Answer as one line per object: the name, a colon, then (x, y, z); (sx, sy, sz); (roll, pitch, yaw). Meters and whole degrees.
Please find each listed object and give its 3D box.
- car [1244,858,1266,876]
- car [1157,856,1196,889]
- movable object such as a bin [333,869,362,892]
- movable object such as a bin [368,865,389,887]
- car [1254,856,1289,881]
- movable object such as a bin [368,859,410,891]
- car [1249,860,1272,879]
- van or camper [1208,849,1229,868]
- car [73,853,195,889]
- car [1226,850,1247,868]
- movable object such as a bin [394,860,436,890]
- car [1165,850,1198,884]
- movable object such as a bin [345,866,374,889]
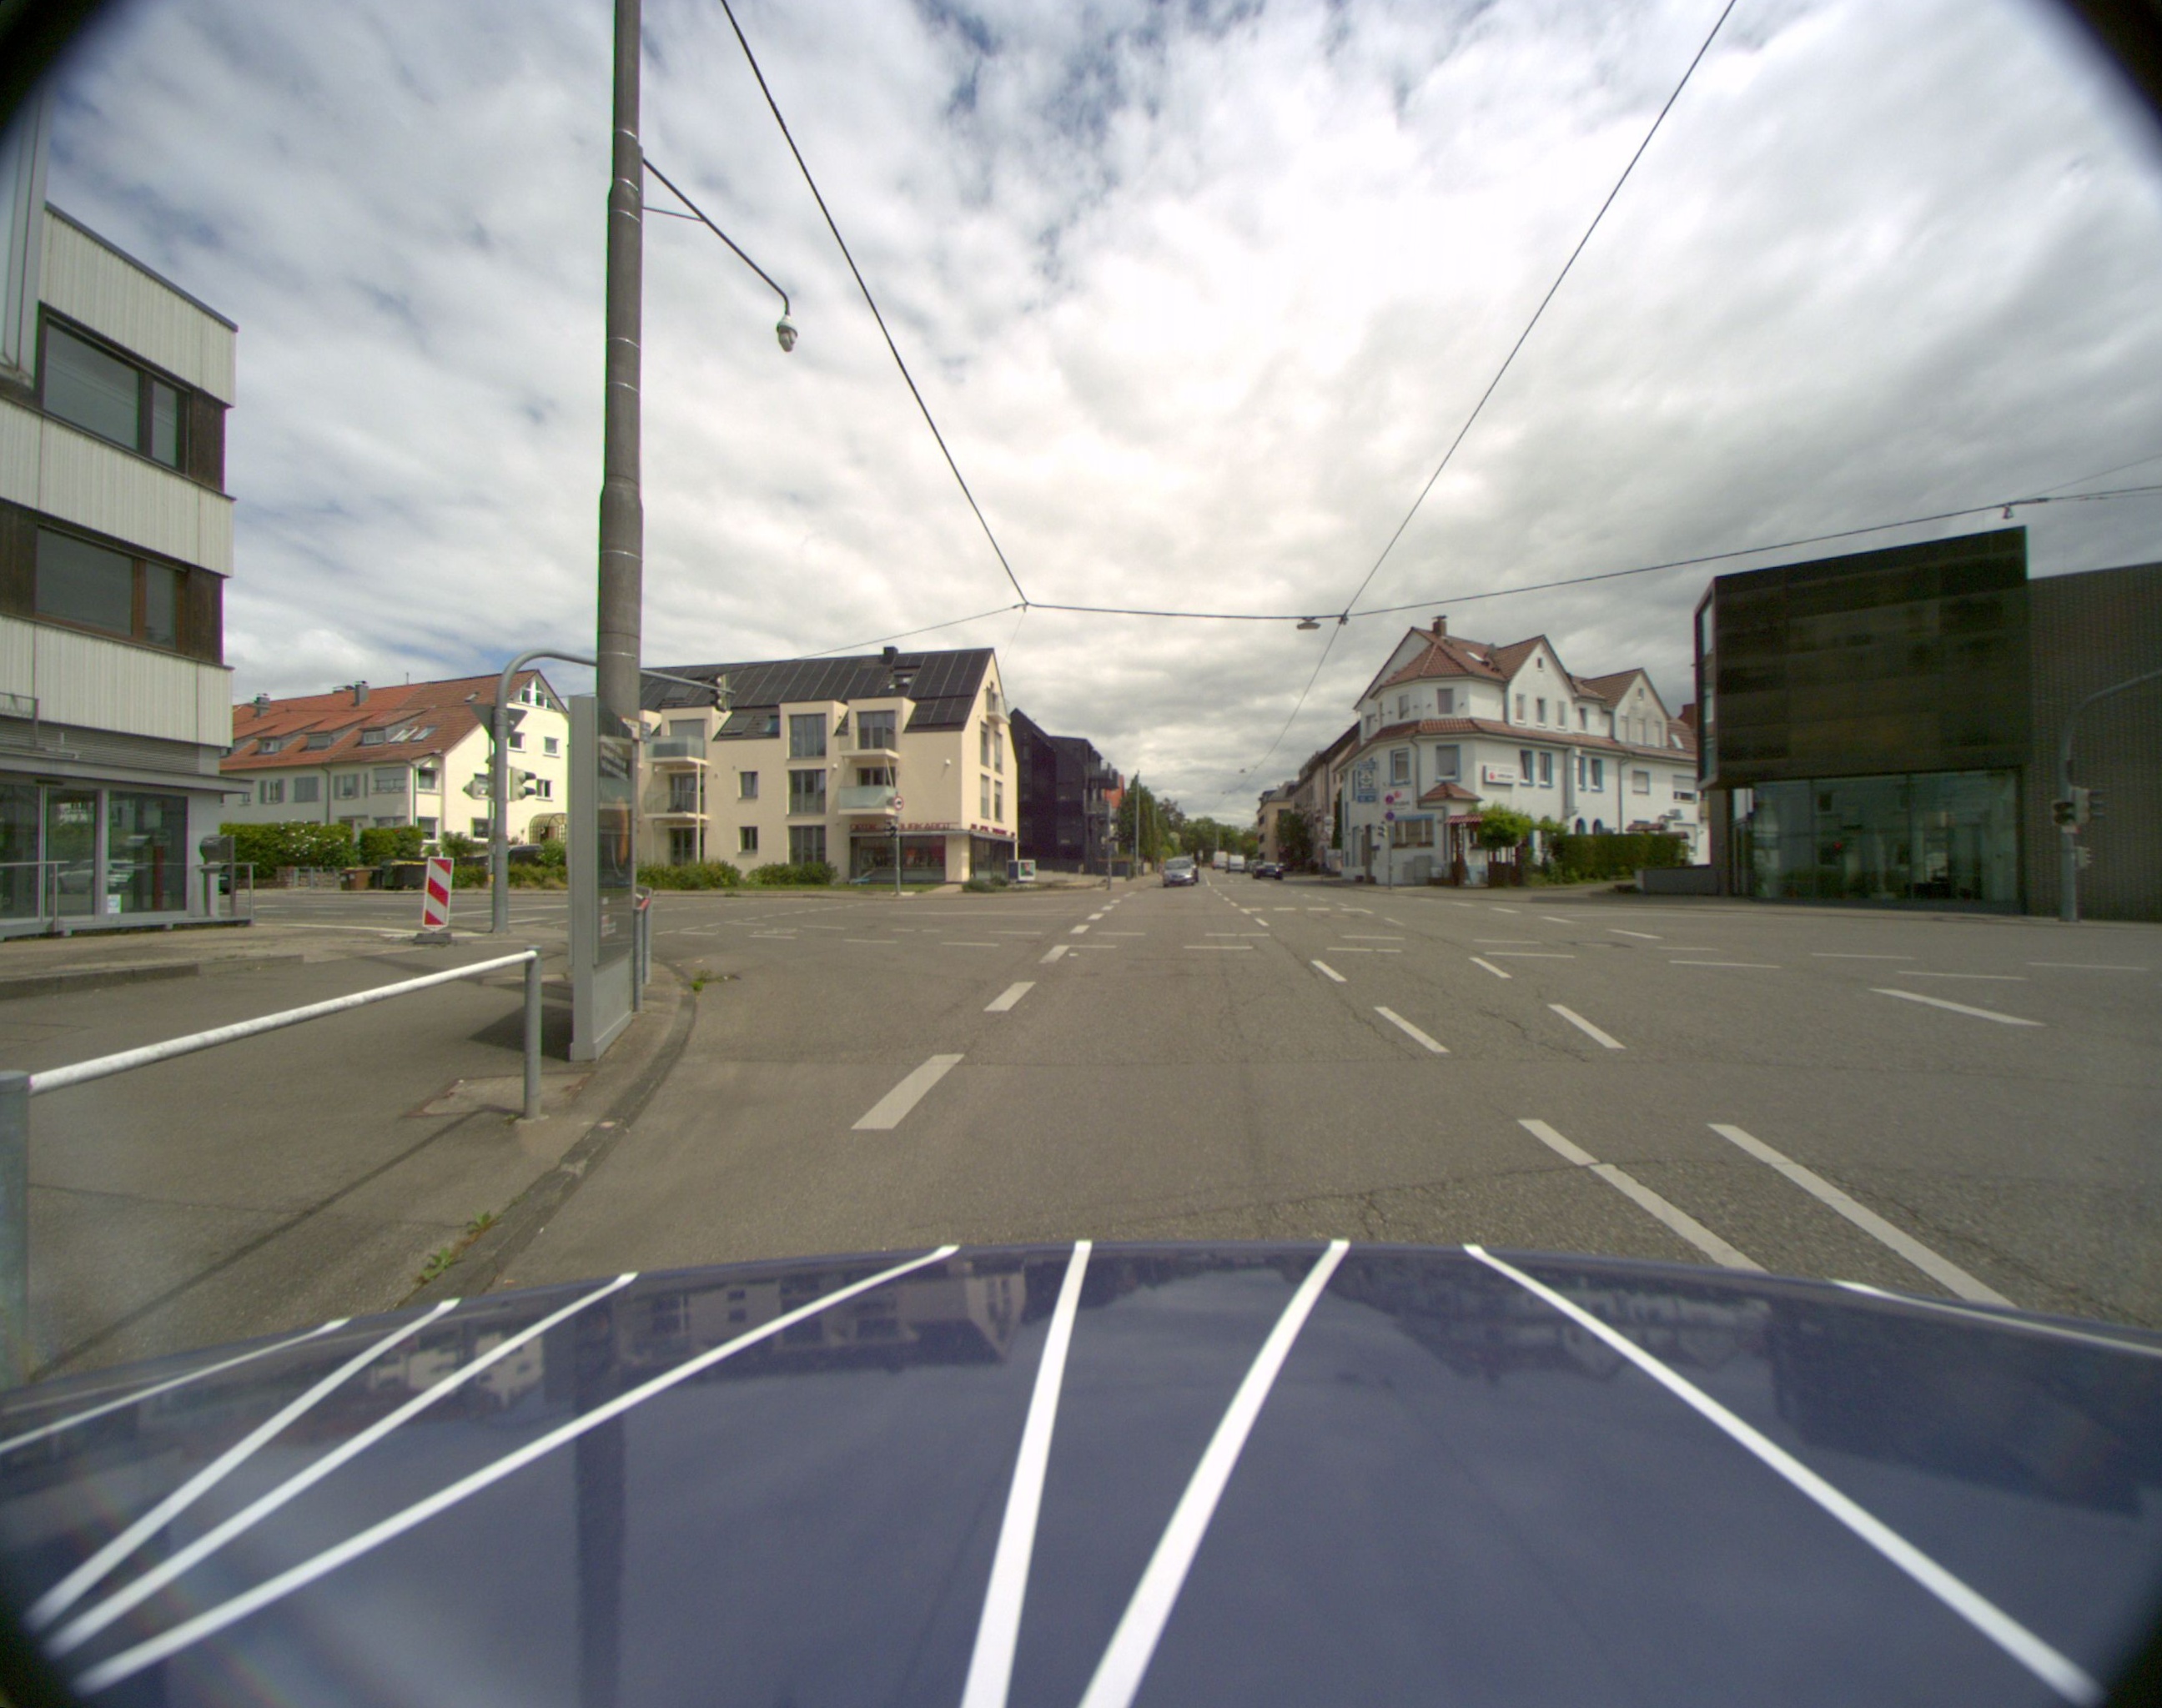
car: (19.918, 1.501, 86.985); (1.997, 2.002, 4.002); (1, 0, 7)
car: (5.323, 0.967, 41.917); (1.997, 1.674, 4.003); (1, 0, 9)
movable object such as a bin: (-34.490, 1.248, 35.715); (0.691, 1.059, 0.765); (0, 0, 22)
movable object such as a bin: (-33.508, 1.035, 36.241); (0.524, 1.059, 0.655); (0, 0, -24)
car: (13.230, 0.987, 52.872); (1.997, 1.521, 4.003); (3, 1, 10)
movable object such as a bin: (-32.596, 0.977, 35.809); (0.979, 1.438, 1.094); (0, 0, 15)
car: (19.294, 1.629, 81.825); (1.997, 2.002, 4.002); (1, 0, 7)
van or camper: (19.537, 0.691, 108.057); (2.112, 2.571, 5.648); (3, -1, 4)
car: (-45.275, 0.810, 36.340); (4.444, 1.623, 2.003); (0, 0, 15)
car: (16.259, 0.570, 79.586); (1.819, 1.801, 4.422); (1, -1, 7)
movable object such as a bin: (-31.061, 0.962, 35.460); (0.979, 1.354, 1.094); (0, 0, 15)
car: (6.335, 0.785, 47.611); (1.997, 2.002, 4.003); (0, 0, 8)
movable object such as a bin: (-33.766, 1.081, 35.555); (0.691, 1.059, 0.765); (0, 0, 22)
